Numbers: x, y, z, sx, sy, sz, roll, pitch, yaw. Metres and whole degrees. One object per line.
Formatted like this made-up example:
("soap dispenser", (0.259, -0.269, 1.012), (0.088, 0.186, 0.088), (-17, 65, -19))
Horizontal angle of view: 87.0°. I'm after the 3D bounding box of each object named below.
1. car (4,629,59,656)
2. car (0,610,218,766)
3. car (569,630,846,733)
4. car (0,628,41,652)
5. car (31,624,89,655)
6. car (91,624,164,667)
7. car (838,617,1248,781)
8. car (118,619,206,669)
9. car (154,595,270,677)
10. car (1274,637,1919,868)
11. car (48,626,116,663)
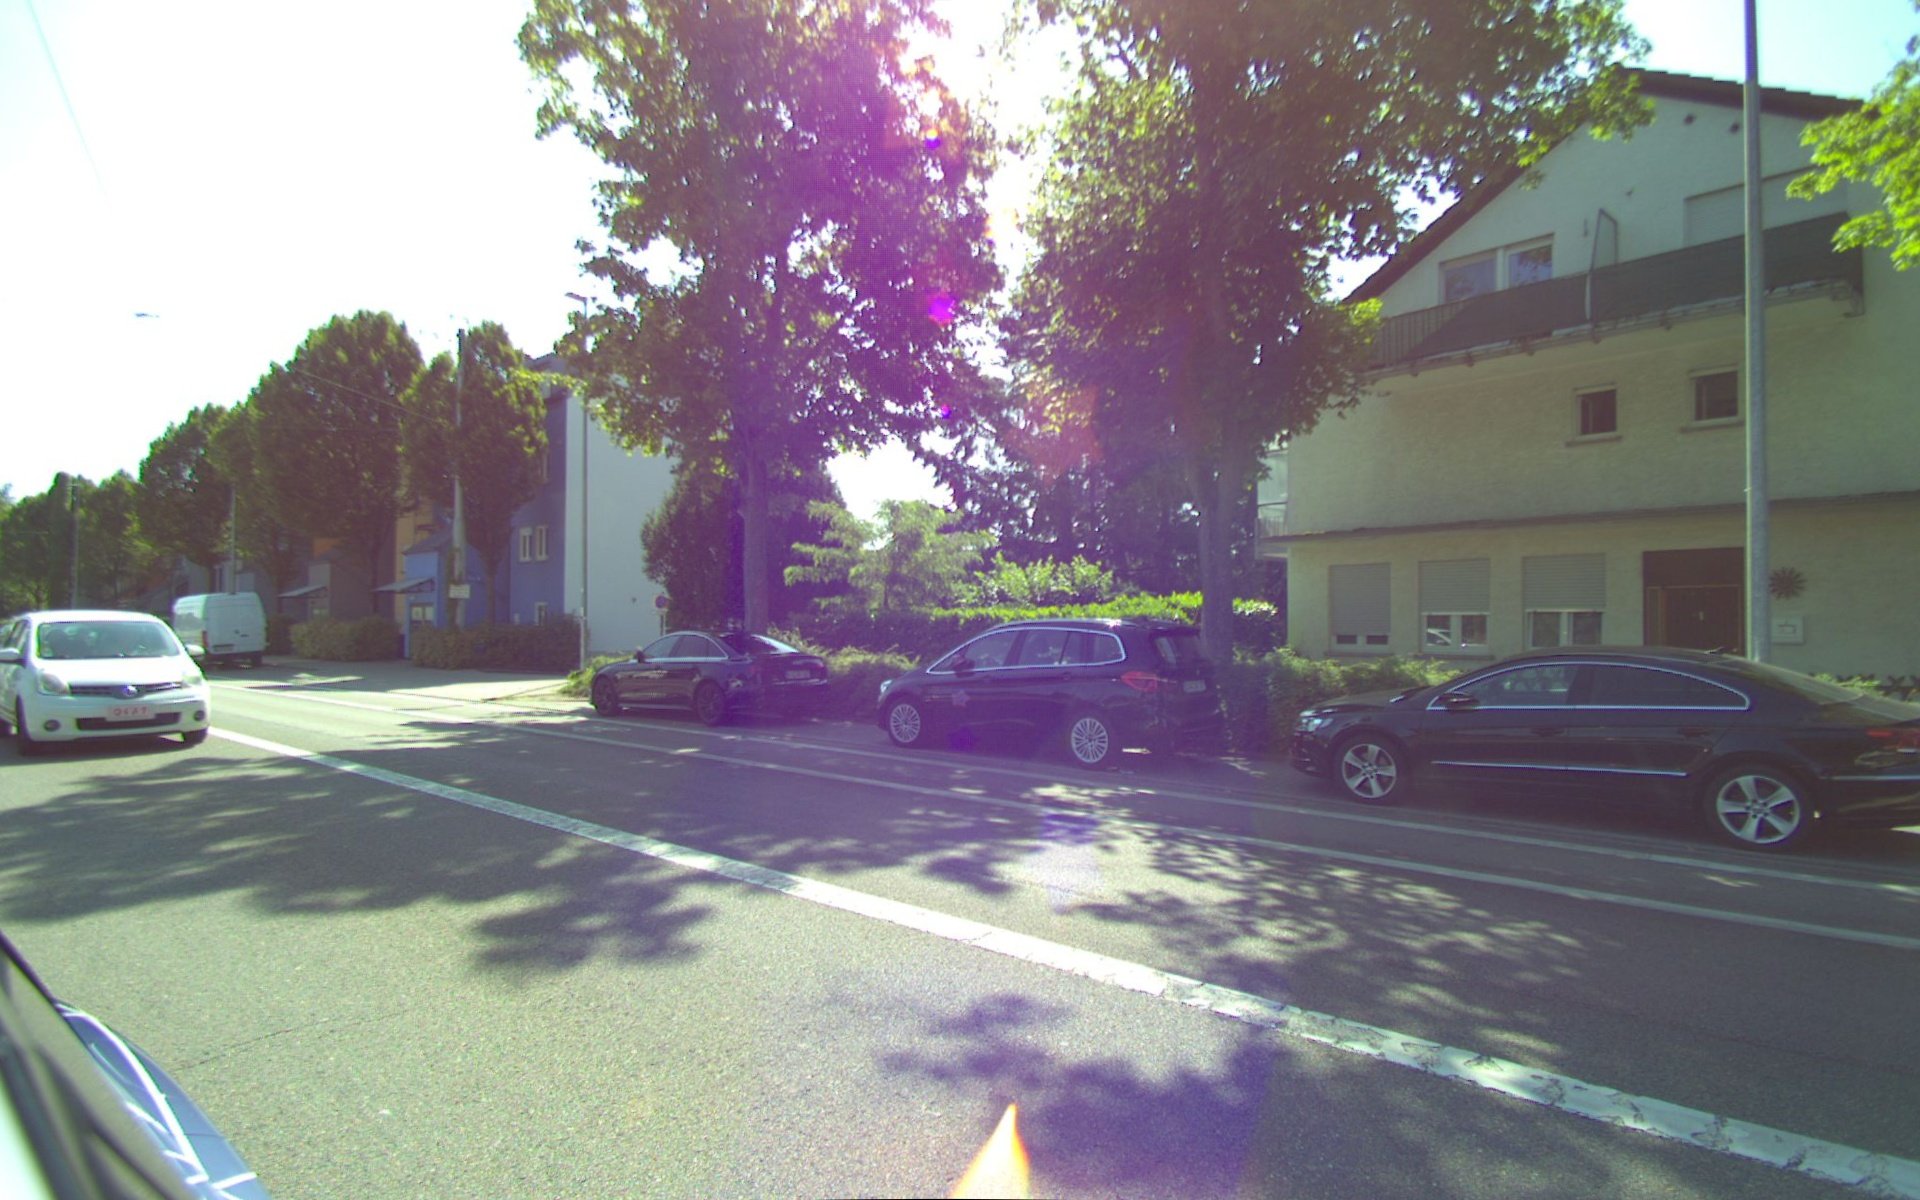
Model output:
("car", (-54.941, 2.502, 59.850), (4.206, 1.481, 1.662), (-1, -1, 37))
("car", (-10.730, 0.933, 12.346), (4.391, 1.559, 1.762), (-1, -1, 40))
("car", (-4.275, 1.232, 16.725), (4.903, 1.477, 1.822), (-1, -2, 38))
("car", (-60.062, 2.520, 64.166), (4.826, 1.457, 1.663), (-1, -1, 35))
("car", (-49.887, 2.134, 56.070), (4.159, 1.619, 1.661), (-1, -1, 38))
("car", (-38.014, 2.026, 46.169), (4.539, 1.715, 1.829), (-1, 2, 42))
("car", (0.816, 1.042, 12.289), (4.891, 1.618, 1.743), (-1, -2, 41))
("car", (-33.745, 1.813, 42.722), (4.964, 1.879, 1.973), (-1, 2, 41))
("car", (-27.672, 1.274, 37.307), (7.084, 2.697, 1.973), (-2, 1, 42))
("car", (5.234, 1.045, 8.336), (4.779, 1.390, 1.673), (-2, 0, 41))
("car", (-45.928, 2.290, 52.914), (4.343, 1.741, 1.812), (-1, 0, 38))
